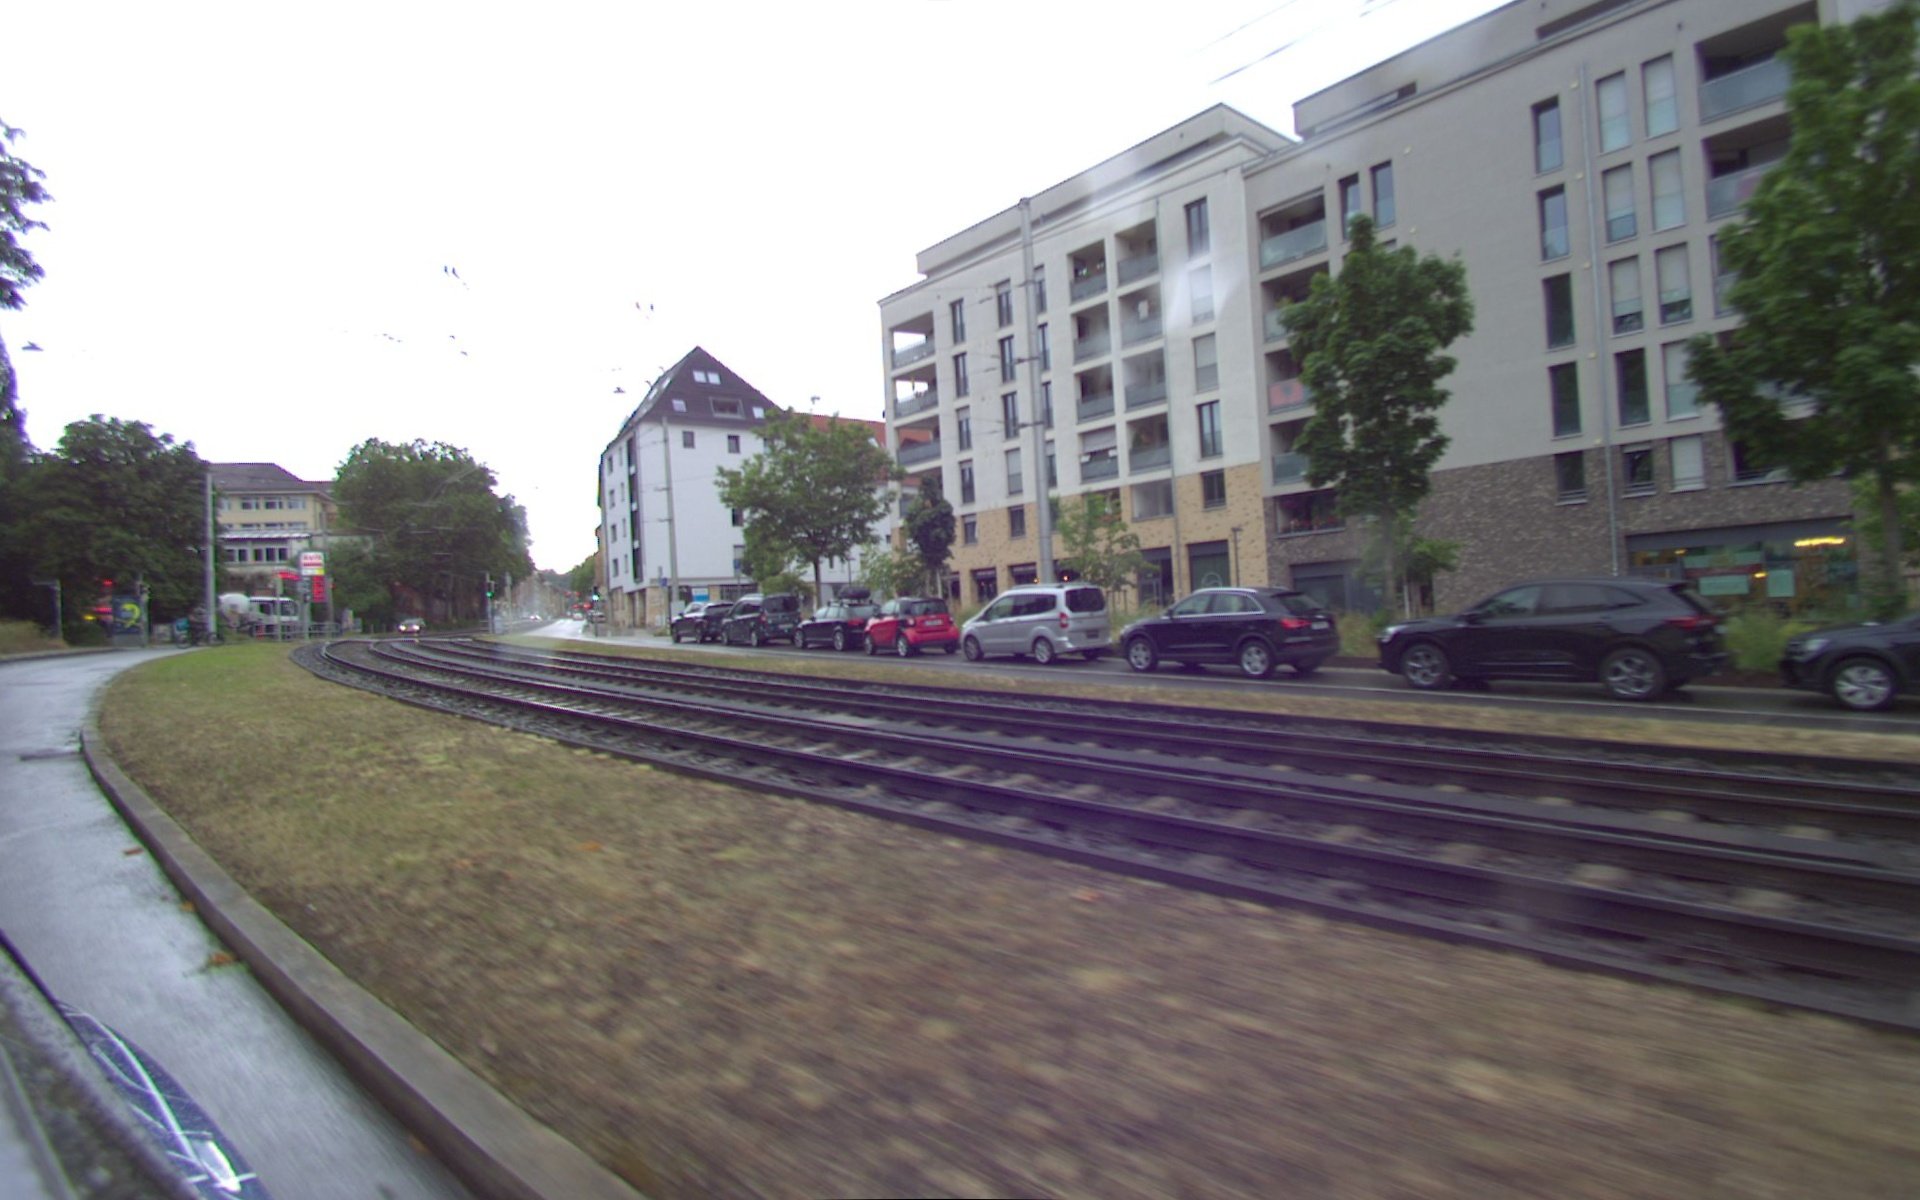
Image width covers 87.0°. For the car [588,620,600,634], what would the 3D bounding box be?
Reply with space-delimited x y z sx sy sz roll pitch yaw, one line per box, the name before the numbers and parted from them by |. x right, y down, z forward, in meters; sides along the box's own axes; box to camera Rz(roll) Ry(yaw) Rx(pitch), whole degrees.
car | -54.989 4.011 151.962 1.700 1.975 4.313 -1 -1 -20

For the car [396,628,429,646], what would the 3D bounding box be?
car | -49.395 3.286 91.370 1.859 1.502 3.860 -1 -1 -16

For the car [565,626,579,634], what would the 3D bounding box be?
car | -77.570 5.934 202.354 1.663 1.548 5.031 -1 -1 -32

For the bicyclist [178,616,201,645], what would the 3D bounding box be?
bicyclist | -35.094 1.374 46.116 0.788 1.304 0.595 -1 1 -41

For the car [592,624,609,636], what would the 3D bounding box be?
car | -50.242 4.189 141.427 1.996 1.554 4.013 -1 -1 -22

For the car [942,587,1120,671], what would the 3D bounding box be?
car | 1.559 0.656 23.644 1.642 1.761 4.265 -2 0 -39

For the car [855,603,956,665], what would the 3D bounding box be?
car | -1.513 0.895 27.425 1.449 1.542 2.939 -1 0 -32

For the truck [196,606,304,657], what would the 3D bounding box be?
truck | -50.794 2.225 72.449 6.053 3.425 2.830 -2 -1 8

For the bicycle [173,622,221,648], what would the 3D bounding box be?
bicycle | -34.787 1.589 46.150 1.685 1.149 0.627 -1 -1 -40

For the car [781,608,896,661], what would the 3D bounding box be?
car | -3.822 1.034 31.268 1.530 1.458 4.410 -3 0 -36

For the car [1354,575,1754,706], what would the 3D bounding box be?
car | 8.471 0.529 14.821 1.781 1.595 4.704 -2 0 -41

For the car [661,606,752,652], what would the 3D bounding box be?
car | -9.978 1.100 39.564 1.967 1.617 4.225 -3 1 -36

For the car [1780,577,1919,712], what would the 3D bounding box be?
car | 12.085 0.469 11.420 4.258 1.500 1.717 -2 0 44

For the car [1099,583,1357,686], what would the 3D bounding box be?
car | 4.892 0.606 19.056 1.710 1.657 4.540 -2 0 -39

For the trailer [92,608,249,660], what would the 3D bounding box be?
trailer | -57.008 2.407 73.183 9.714 3.421 2.809 -2 -1 6

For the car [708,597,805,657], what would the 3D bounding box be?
car | -7.188 0.923 35.386 1.561 1.873 4.343 -3 1 -36
